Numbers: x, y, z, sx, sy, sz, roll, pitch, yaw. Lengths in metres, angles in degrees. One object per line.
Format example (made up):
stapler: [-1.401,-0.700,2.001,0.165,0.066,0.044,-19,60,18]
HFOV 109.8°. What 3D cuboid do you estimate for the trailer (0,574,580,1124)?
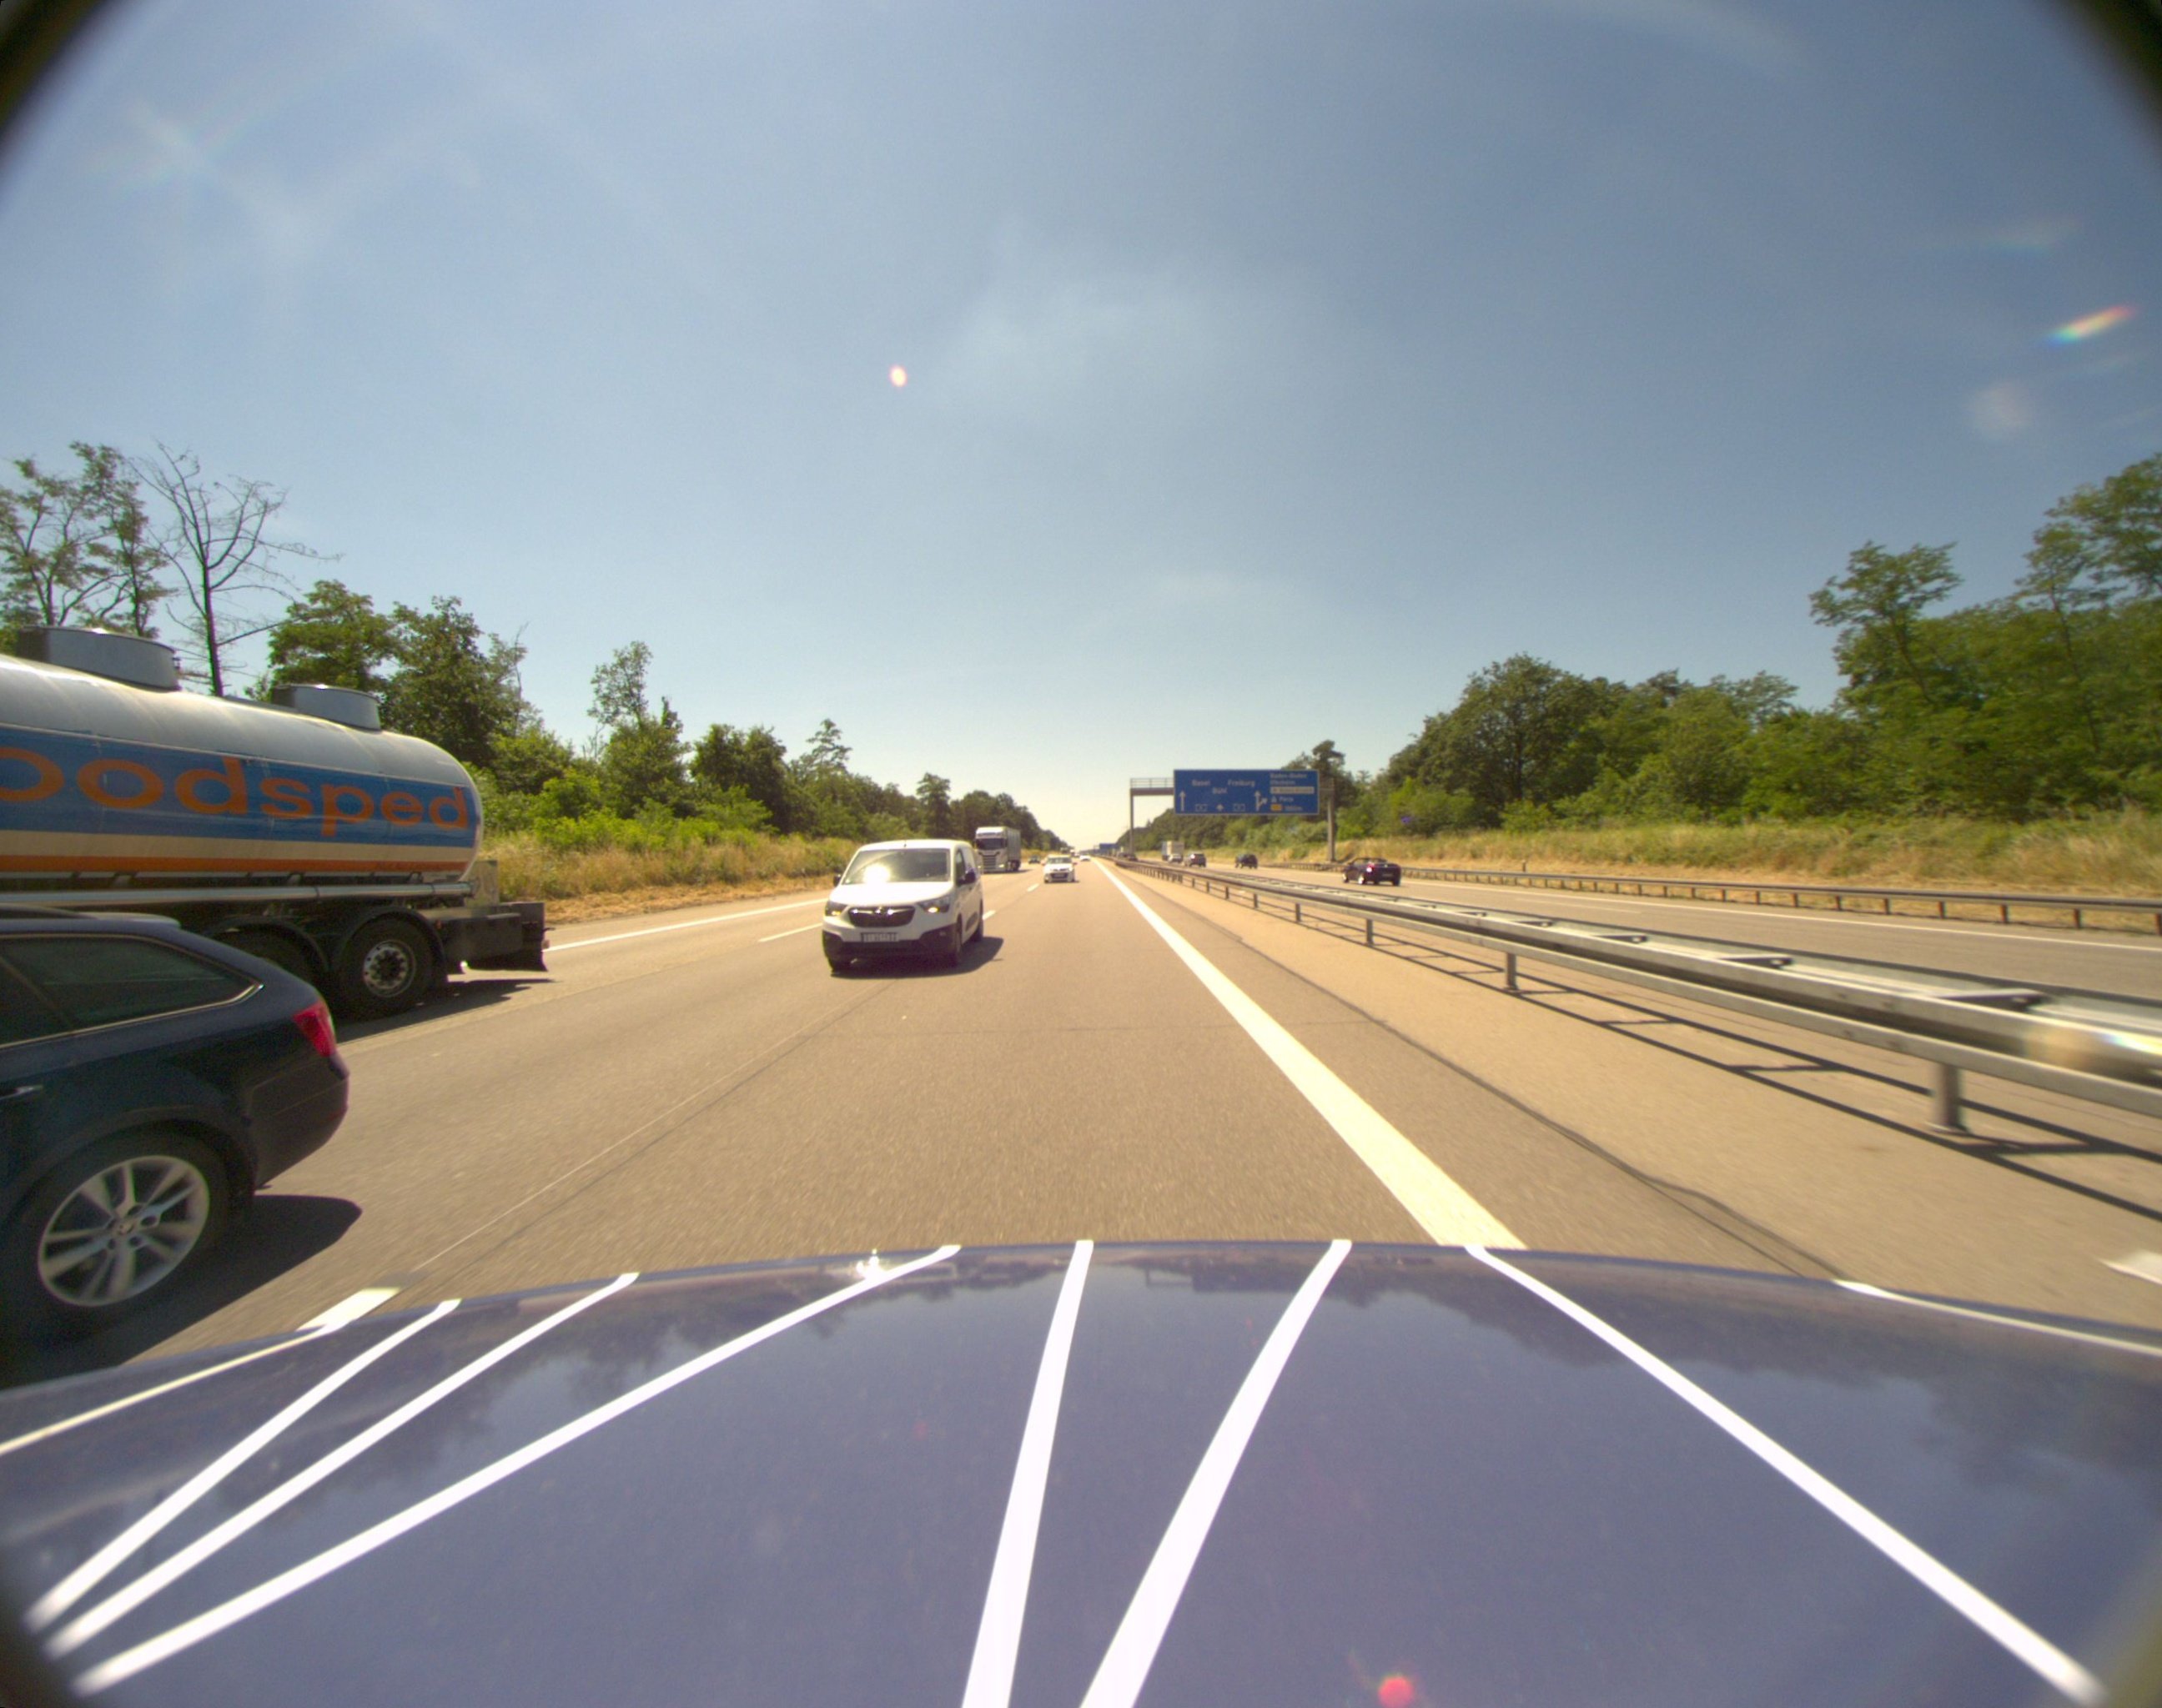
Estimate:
trailer: [-8.561,0.000,5.034,2.535,3.712,11.548,-2,0,1]

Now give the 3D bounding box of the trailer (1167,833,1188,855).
trailer: [18.994,-1.896,150.272,3.065,4.258,8.635,0,0,1]

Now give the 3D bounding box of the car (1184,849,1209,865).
car: [12.922,0.332,85.344,1.967,1.708,5.289,1,0,0]

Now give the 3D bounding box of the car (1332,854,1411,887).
car: [14.679,0.765,38.734,1.967,1.516,5.289,1,0,0]

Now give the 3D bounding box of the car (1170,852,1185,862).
car: [14.455,0.398,113.766,1.811,1.388,4.480,1,0,1]

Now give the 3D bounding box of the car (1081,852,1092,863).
car: [0.980,0.599,140.946,1.998,2.002,4.000,-2,0,1]

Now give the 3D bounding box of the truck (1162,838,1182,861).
truck: [19.191,-0.922,160.145,3.065,4.532,10.458,0,0,1]

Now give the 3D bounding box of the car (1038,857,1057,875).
car: [-4.099,1.438,92.875,1.998,2.002,4.000,-2,0,1]

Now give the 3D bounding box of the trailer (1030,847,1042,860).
trailer: [-7.628,-0.119,129.476,1.849,2.196,3.197,-2,1,1]

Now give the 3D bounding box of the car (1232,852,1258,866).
car: [17.982,0.522,83.418,1.836,1.545,4.949,1,0,0]

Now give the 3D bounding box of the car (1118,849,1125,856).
car: [11.986,-0.445,225.770,1.836,1.844,5.236,1,0,0]

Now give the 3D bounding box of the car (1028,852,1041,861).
car: [-7.652,0.397,126.202,1.845,1.275,3.352,-2,0,1]

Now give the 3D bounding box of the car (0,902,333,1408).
car: [-4.233,0.997,1.201,1.806,1.475,4.271,-2,0,0]

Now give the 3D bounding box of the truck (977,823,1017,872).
truck: [-7.251,-0.547,66.353,2.603,3.980,6.173,-2,1,1]

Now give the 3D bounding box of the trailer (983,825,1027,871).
trailer: [-7.187,-0.598,73.841,2.603,3.980,14.079,-2,0,1]

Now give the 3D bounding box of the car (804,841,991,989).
car: [-2.626,0.764,12.168,1.871,1.807,4.939,-2,0,-2]

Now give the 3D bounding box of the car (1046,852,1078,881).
car: [-0.996,0.650,41.114,1.581,1.412,3.352,-2,0,1]
